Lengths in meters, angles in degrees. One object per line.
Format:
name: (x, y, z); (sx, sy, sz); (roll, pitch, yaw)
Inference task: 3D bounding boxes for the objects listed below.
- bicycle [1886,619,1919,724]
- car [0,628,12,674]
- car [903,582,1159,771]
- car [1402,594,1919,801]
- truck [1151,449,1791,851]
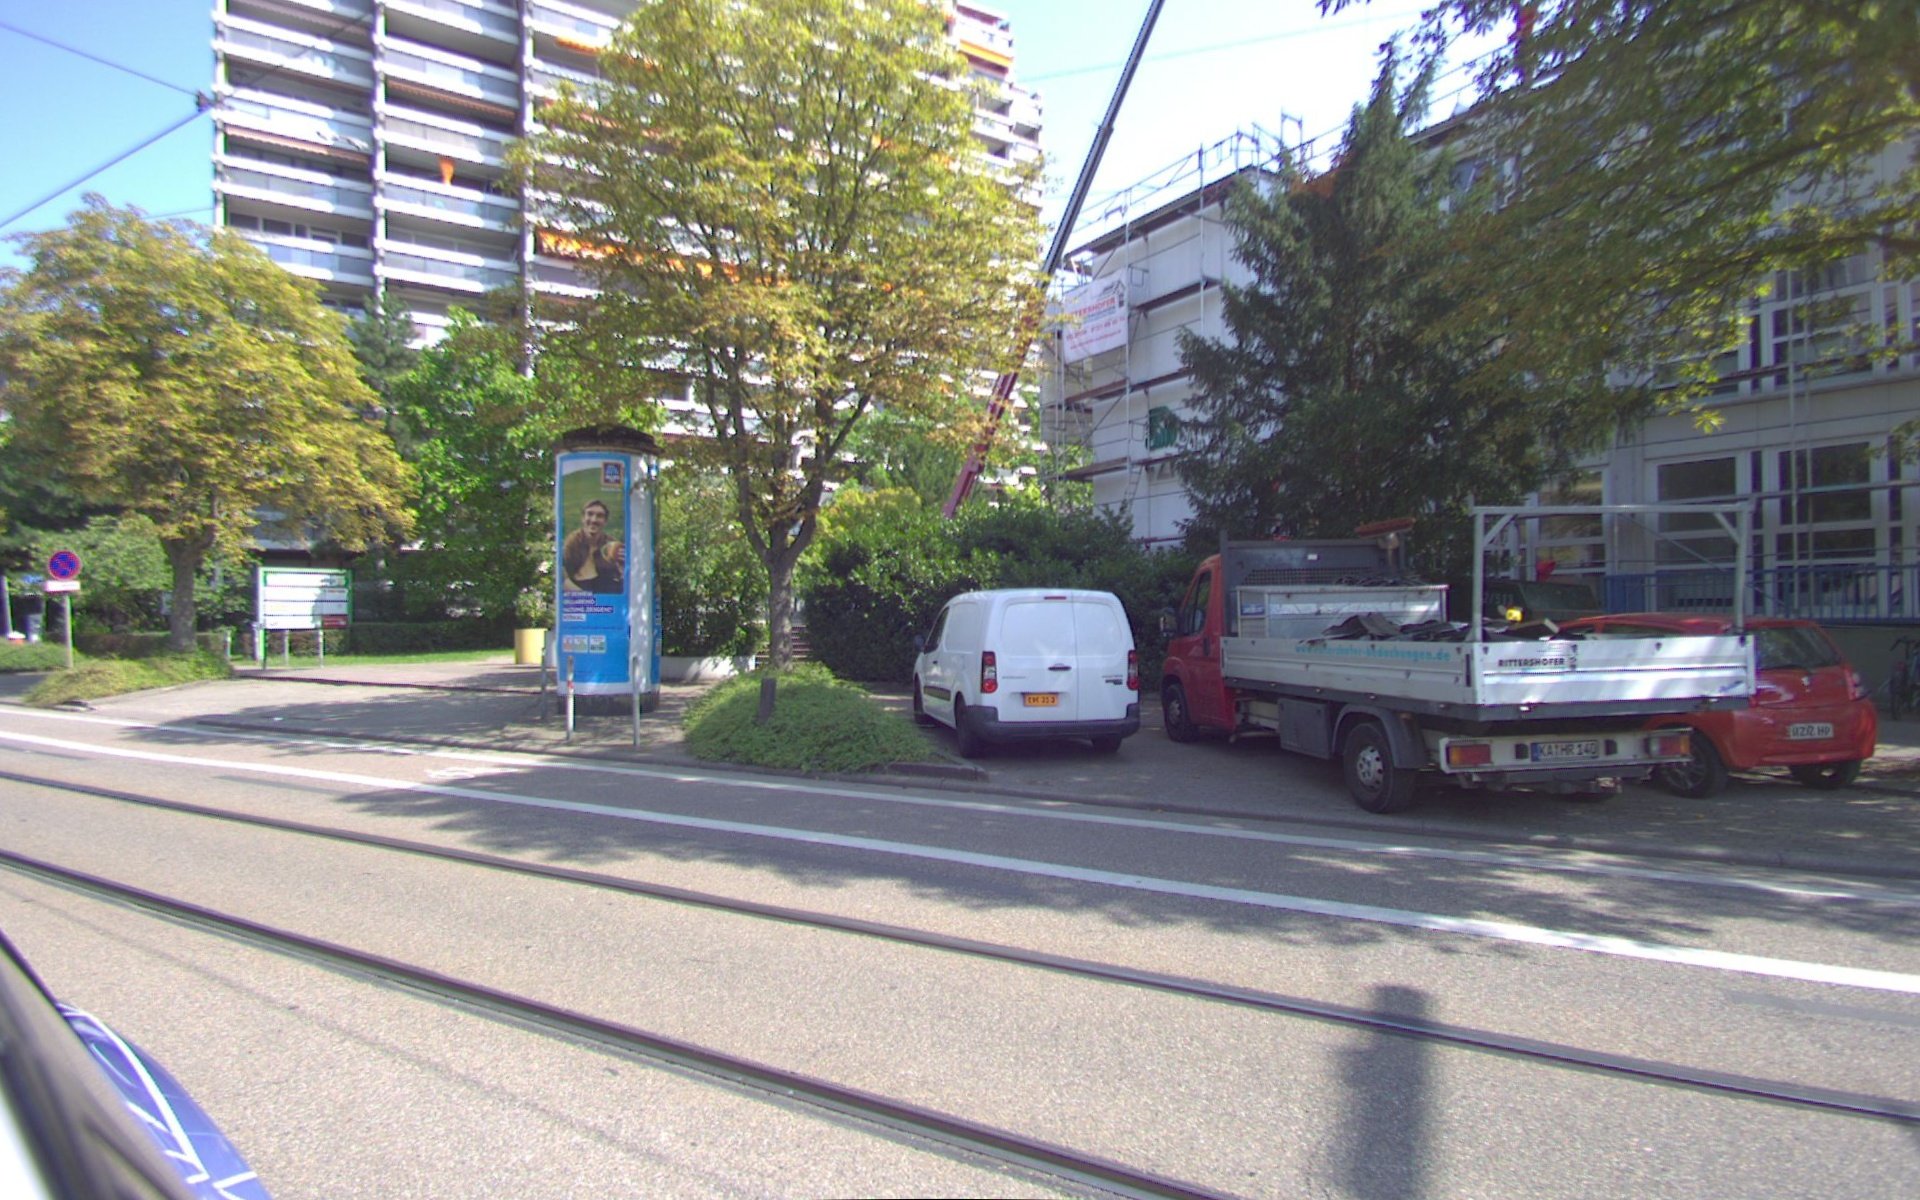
bicycle: (12.437, 0.878, 12.921); (2.309, 1.168, 0.603); (-2, 1, -40)
car: (-32.220, 1.660, 31.246); (1.758, 1.508, 4.291); (-1, -1, 4)
car: (0.592, 0.764, 11.880); (1.795, 1.785, 4.296); (0, -1, -13)
car: (6.164, 0.757, 9.493); (1.692, 1.519, 3.870); (0, -1, -13)
truck: (3.800, 0.326, 9.291); (2.116, 2.453, 5.980); (0, -1, -9)
